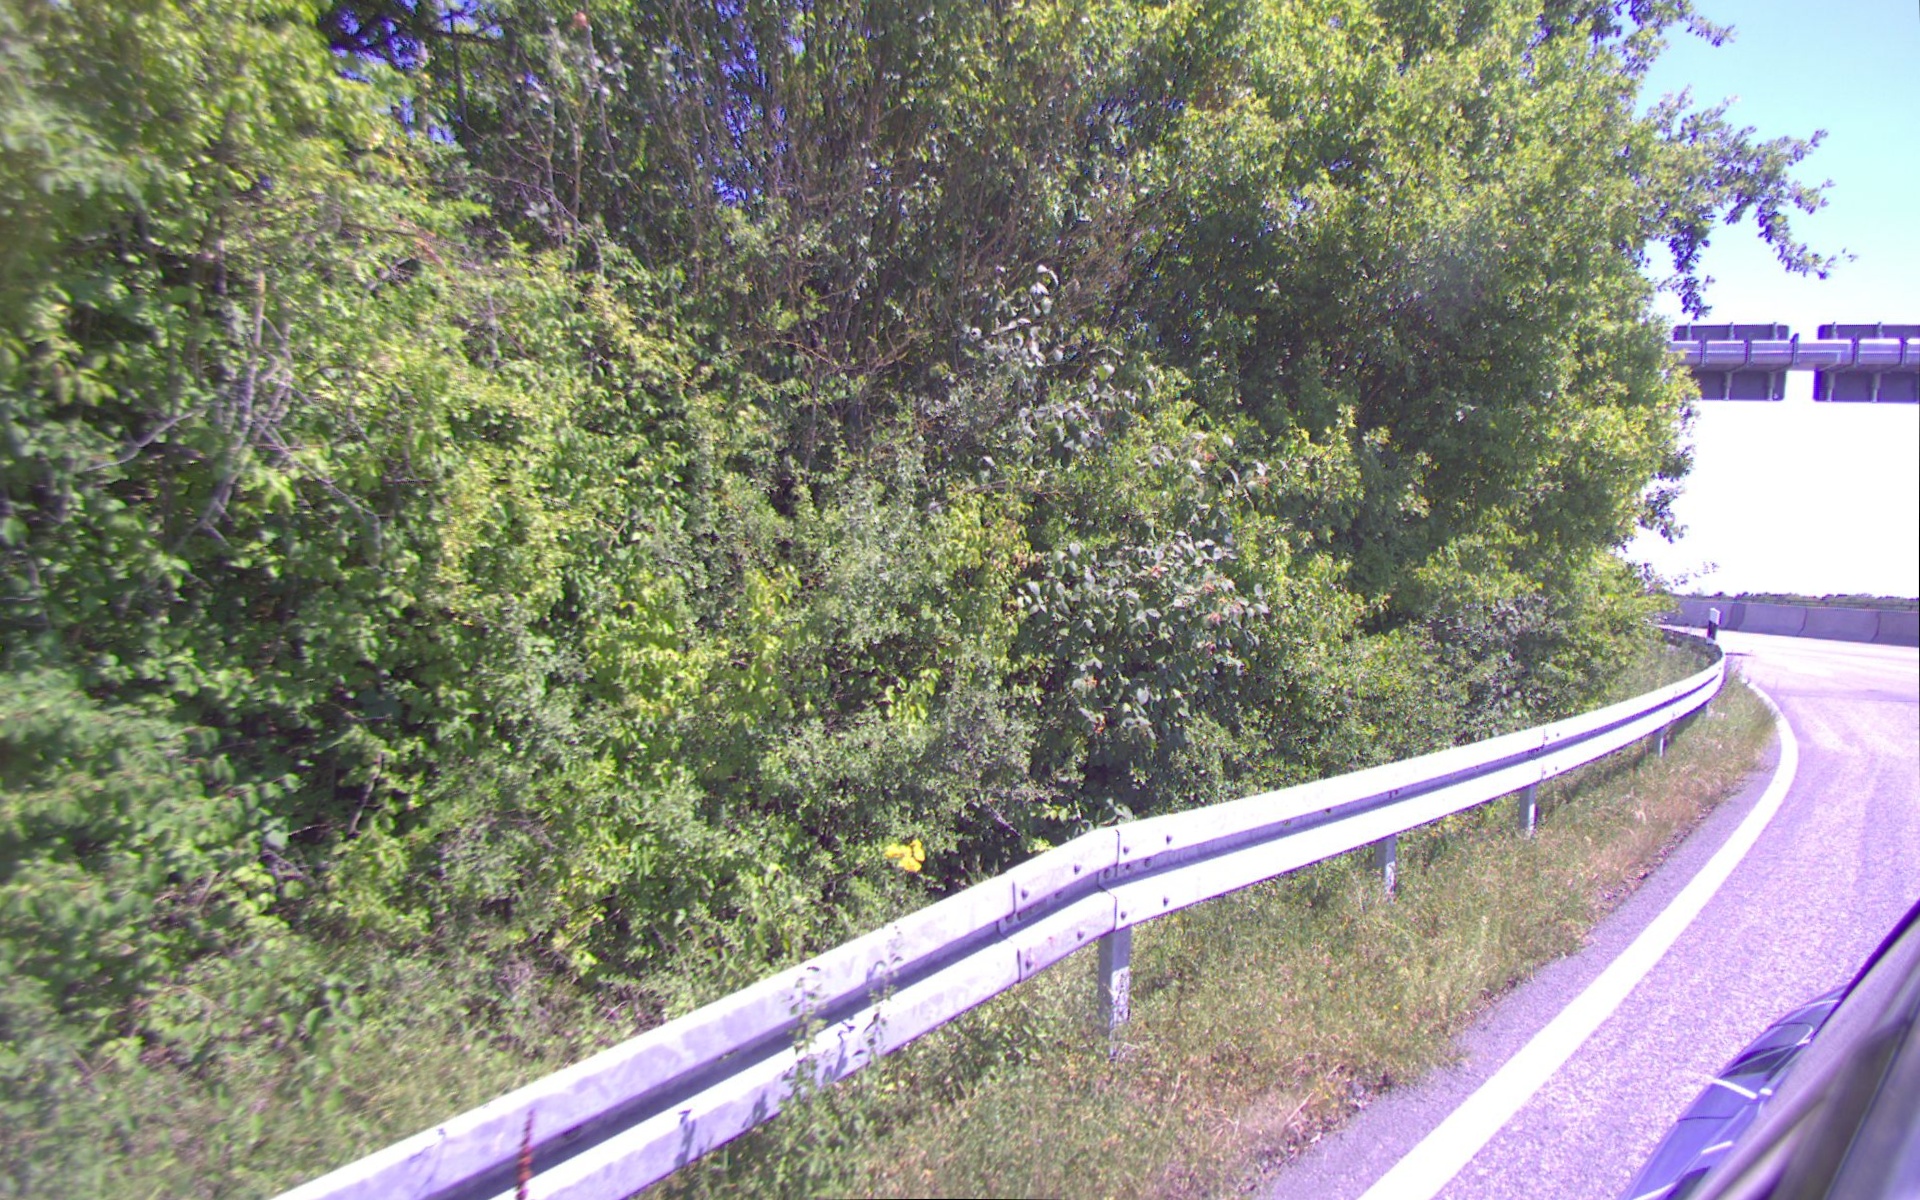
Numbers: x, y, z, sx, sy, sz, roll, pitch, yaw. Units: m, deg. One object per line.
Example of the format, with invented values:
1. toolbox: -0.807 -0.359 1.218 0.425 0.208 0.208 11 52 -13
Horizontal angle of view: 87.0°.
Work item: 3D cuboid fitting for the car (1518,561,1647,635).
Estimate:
1. car: 21.844 -0.183 35.828 2.001 2.109 5.855 1 5 13
